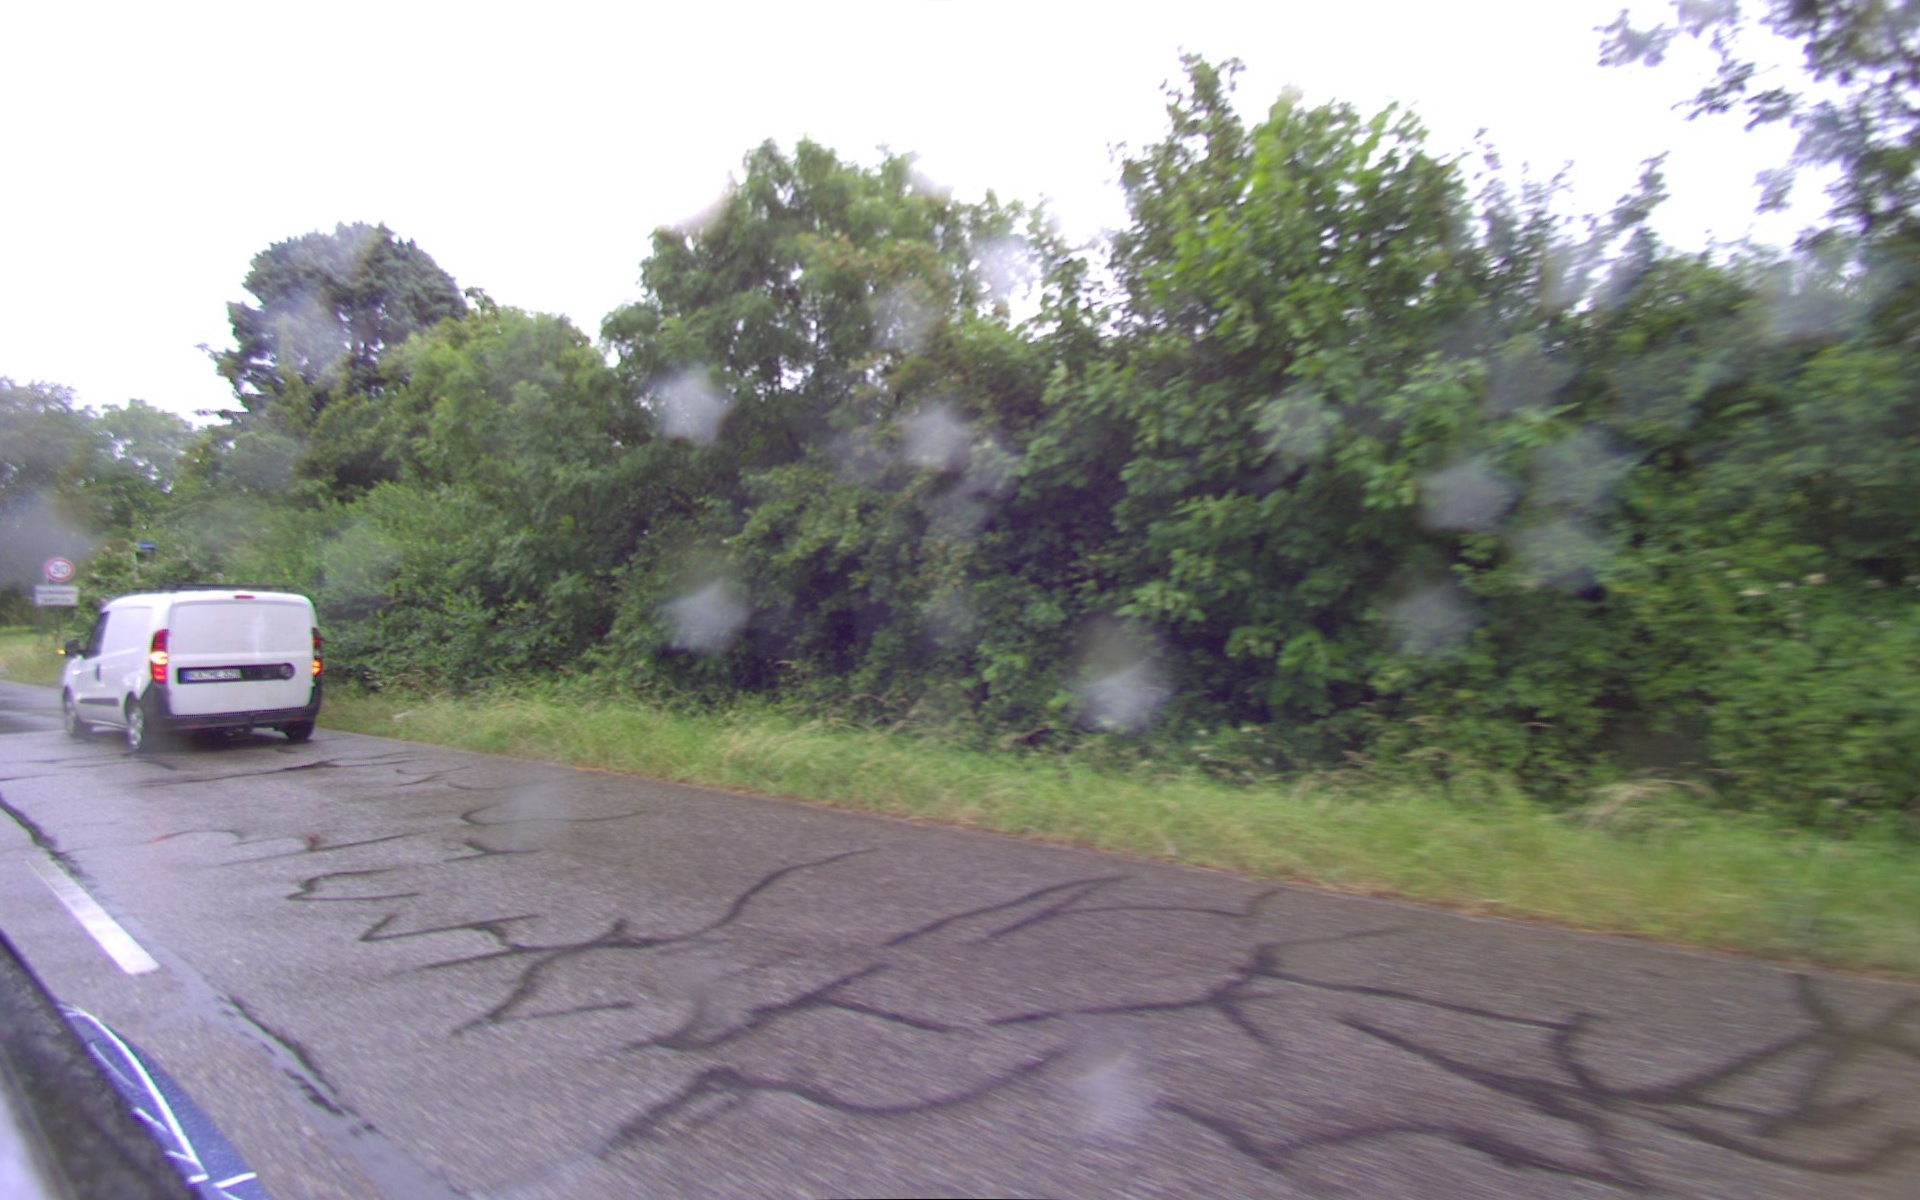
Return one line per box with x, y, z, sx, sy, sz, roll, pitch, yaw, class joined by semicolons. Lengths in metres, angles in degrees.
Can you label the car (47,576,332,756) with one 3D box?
-9.602;0.709;12.520;3.948;1.878;1.815;-1;-1;37;car
